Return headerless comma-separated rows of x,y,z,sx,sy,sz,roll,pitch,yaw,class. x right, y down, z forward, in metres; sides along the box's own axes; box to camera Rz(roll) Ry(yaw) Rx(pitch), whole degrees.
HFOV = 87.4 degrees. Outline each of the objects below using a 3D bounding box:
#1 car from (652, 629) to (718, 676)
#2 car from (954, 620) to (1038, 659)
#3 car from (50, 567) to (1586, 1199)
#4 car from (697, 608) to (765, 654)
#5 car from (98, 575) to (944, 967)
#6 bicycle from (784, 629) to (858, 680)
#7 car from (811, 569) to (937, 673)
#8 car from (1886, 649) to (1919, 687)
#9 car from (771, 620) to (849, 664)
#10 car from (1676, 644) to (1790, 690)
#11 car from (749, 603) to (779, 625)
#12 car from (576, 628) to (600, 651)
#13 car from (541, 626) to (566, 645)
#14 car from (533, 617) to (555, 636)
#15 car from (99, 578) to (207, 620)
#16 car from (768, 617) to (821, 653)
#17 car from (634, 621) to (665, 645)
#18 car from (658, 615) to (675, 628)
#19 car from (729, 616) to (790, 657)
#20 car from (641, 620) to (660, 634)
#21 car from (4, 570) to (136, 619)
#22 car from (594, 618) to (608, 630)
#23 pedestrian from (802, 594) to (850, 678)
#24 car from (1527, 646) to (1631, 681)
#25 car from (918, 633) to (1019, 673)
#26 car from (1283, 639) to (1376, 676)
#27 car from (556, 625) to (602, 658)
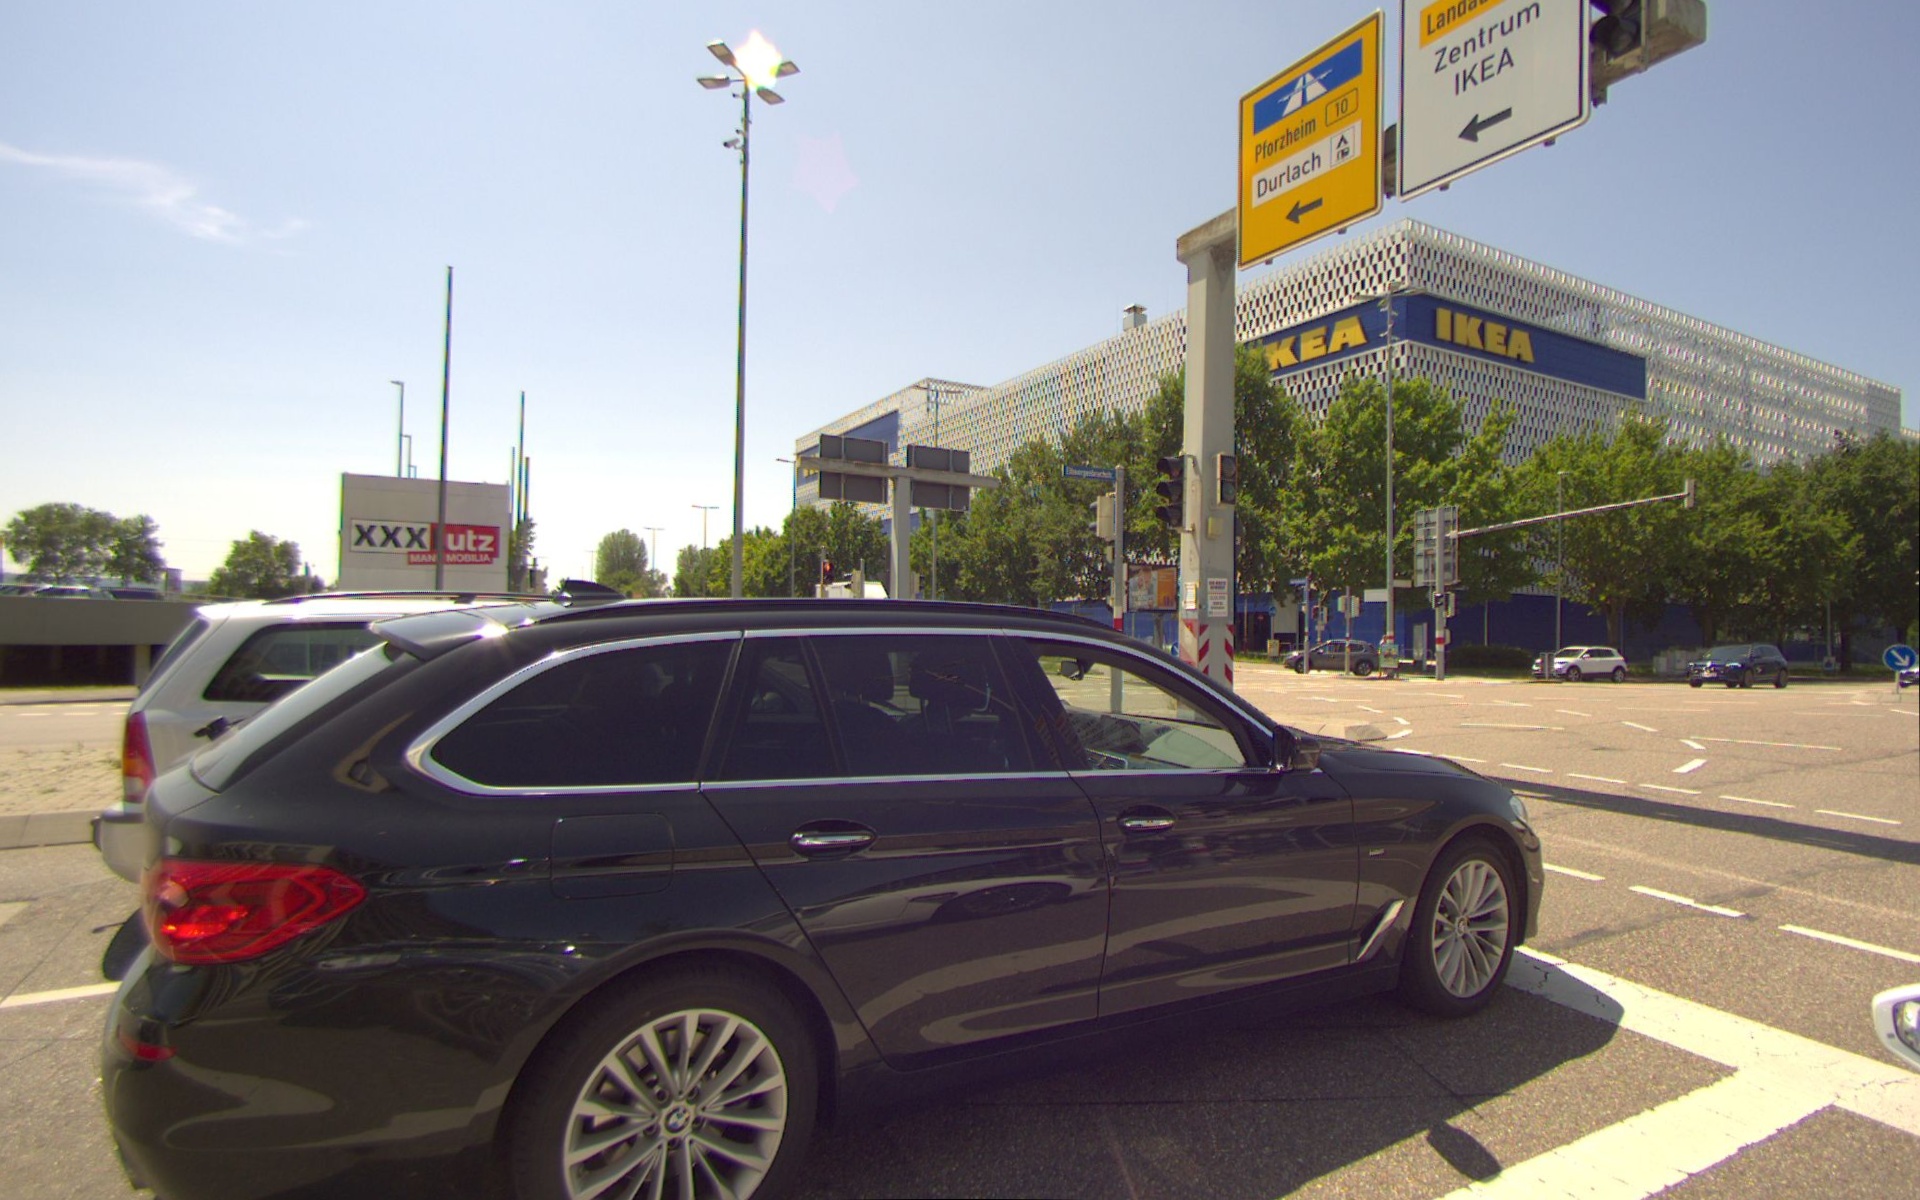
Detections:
-9.588,1.794,34.848,1.904,1.528,3.982,1,-2,-20,car
1.894,2.120,54.297,1.982,2.034,4.713,3,-3,-38,car
0.063,0.742,3.556,4.570,1.485,1.791,1,-1,-31,car
-13.775,1.846,60.074,2.542,2.568,6.587,2,-2,-26,car
-2.224,0.717,5.783,3.961,1.514,1.785,2,-1,-36,car
-3.493,1.337,25.098,0.987,1.229,2.079,2,-2,-35,bicycle
-3.375,0.774,37.547,2.156,3.532,6.875,0,-1,-28,car
37.947,2.646,39.120,3.663,1.445,1.724,2,-4,-30,car
-6.791,1.856,45.018,1.973,1.835,5.438,1,-2,-25,car
28.927,2.486,37.565,4.444,1.619,1.866,2,-3,-30,car
-18.597,1.353,95.140,1.972,2.040,3.978,2,-2,-23,car
-31.772,3.354,85.711,1.680,1.929,3.978,1,-2,-23,car
-36.543,3.162,90.207,1.718,1.708,3.642,2,-2,-28,car
-86.515,5.639,208.866,3.375,3.812,7.464,2,-2,-17,car
-40.400,-0.007,50.420,3.956,1.933,1.983,2,-2,-32,car
-9.686,2.063,58.658,1.974,2.014,3.974,2,-3,-26,car
-27.392,2.919,88.596,1.906,2.040,3.971,2,-2,-28,car
-48.265,3.466,165.253,1.974,2.040,3.972,2,-1,-27,car
-10.627,1.930,52.997,1.975,2.040,4.681,2,-2,-27,car
-45.227,3.989,146.697,1.974,2.040,3.973,2,-3,-27,car
-39.004,-0.206,44.165,3.953,1.957,1.984,2,-2,-30,car
-60.652,4.102,169.725,1.971,2.040,3.979,2,-2,-22,car
-3.314,0.892,24.853,0.856,2.040,0.899,1,-2,-35,pedestrian
27.290,2.788,44.308,4.002,1.476,1.622,2,-2,-15,car
0.241,1.890,36.665,1.756,1.360,4.262,1,-2,-30,car
16.345,2.515,44.589,3.678,1.553,1.777,0,-2,12,car
-23.987,2.591,63.169,1.815,2.040,3.963,2,-2,-34,car
